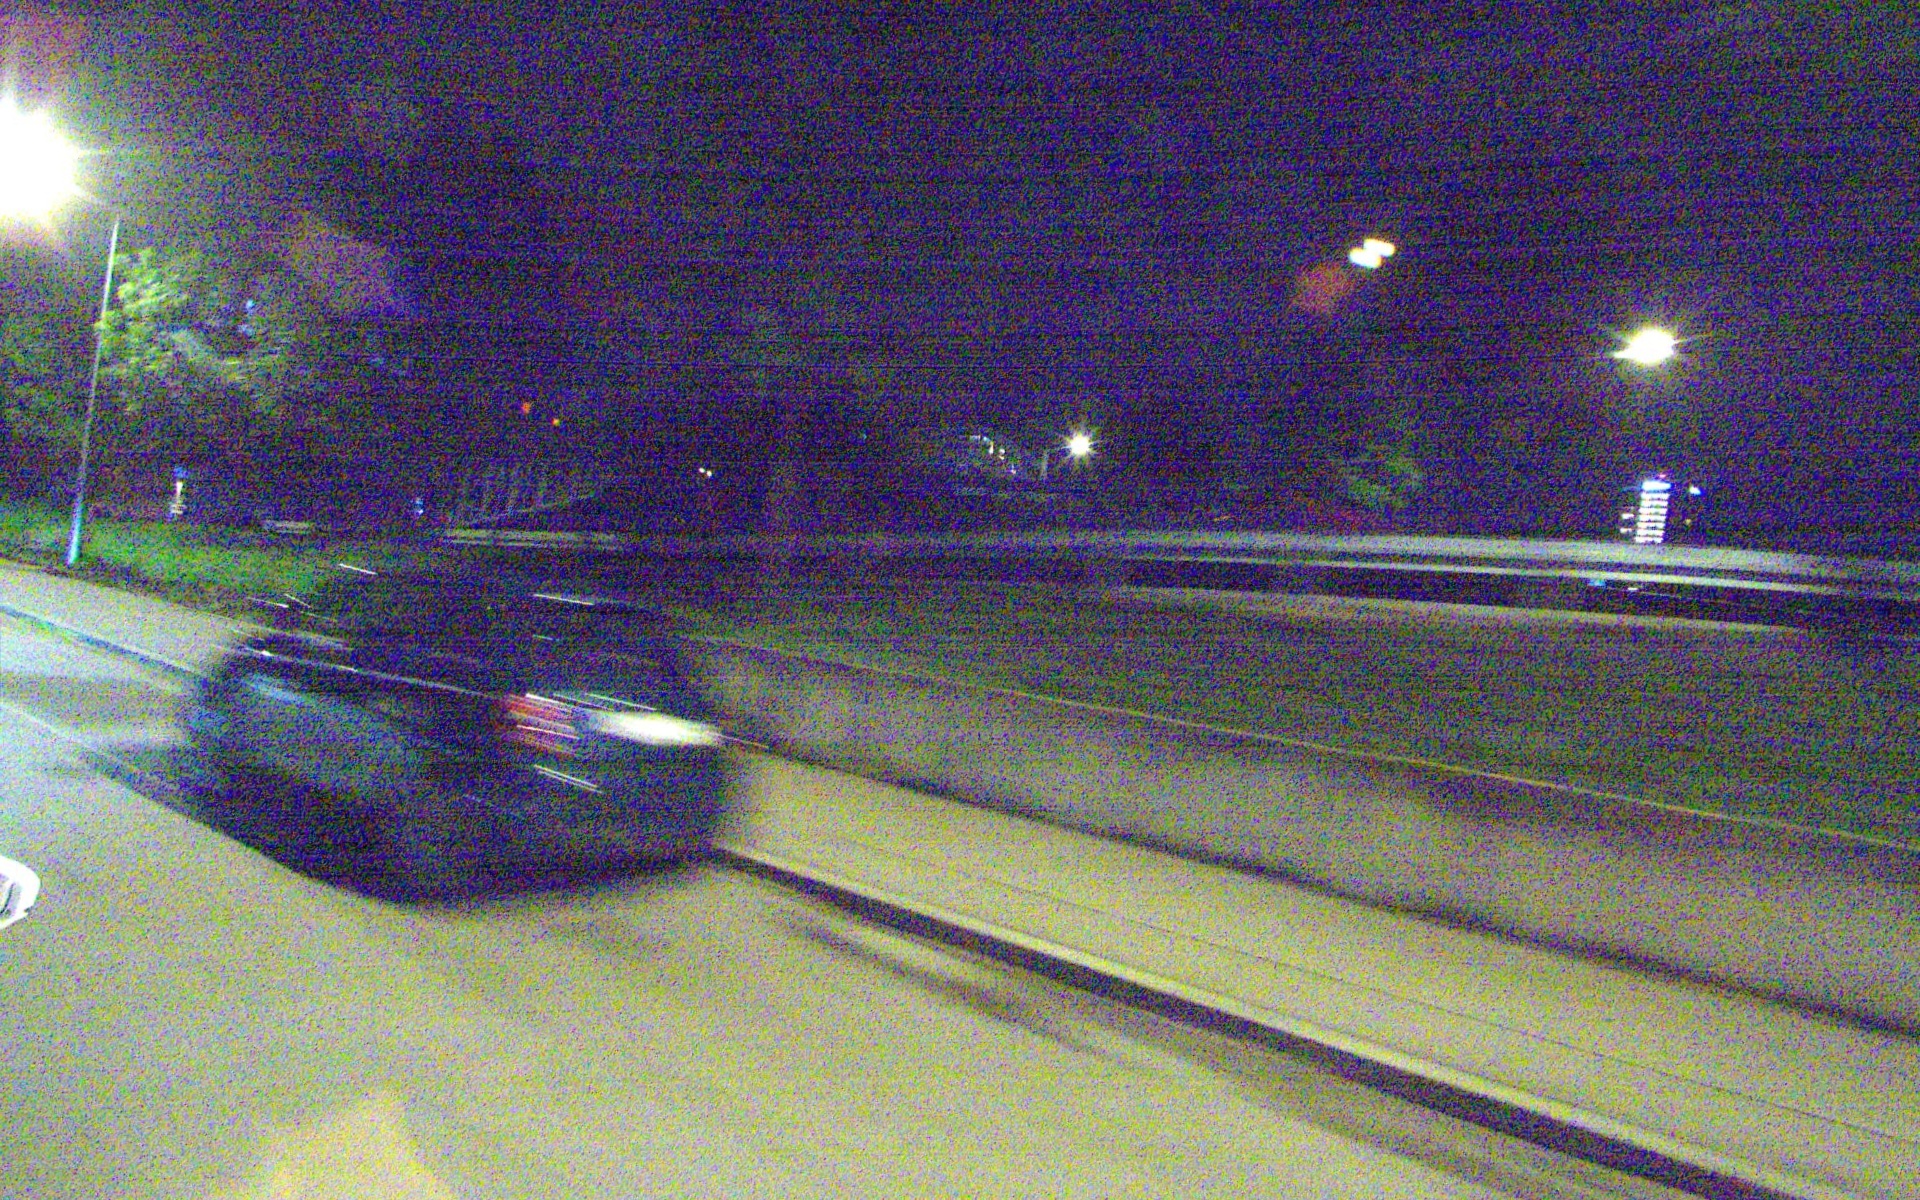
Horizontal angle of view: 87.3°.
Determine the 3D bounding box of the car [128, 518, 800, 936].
[{"bbox_3d":[-2.979,0.536,5.837,3.762,1.528,1.612,7,-3,32],"label":"car"}]
